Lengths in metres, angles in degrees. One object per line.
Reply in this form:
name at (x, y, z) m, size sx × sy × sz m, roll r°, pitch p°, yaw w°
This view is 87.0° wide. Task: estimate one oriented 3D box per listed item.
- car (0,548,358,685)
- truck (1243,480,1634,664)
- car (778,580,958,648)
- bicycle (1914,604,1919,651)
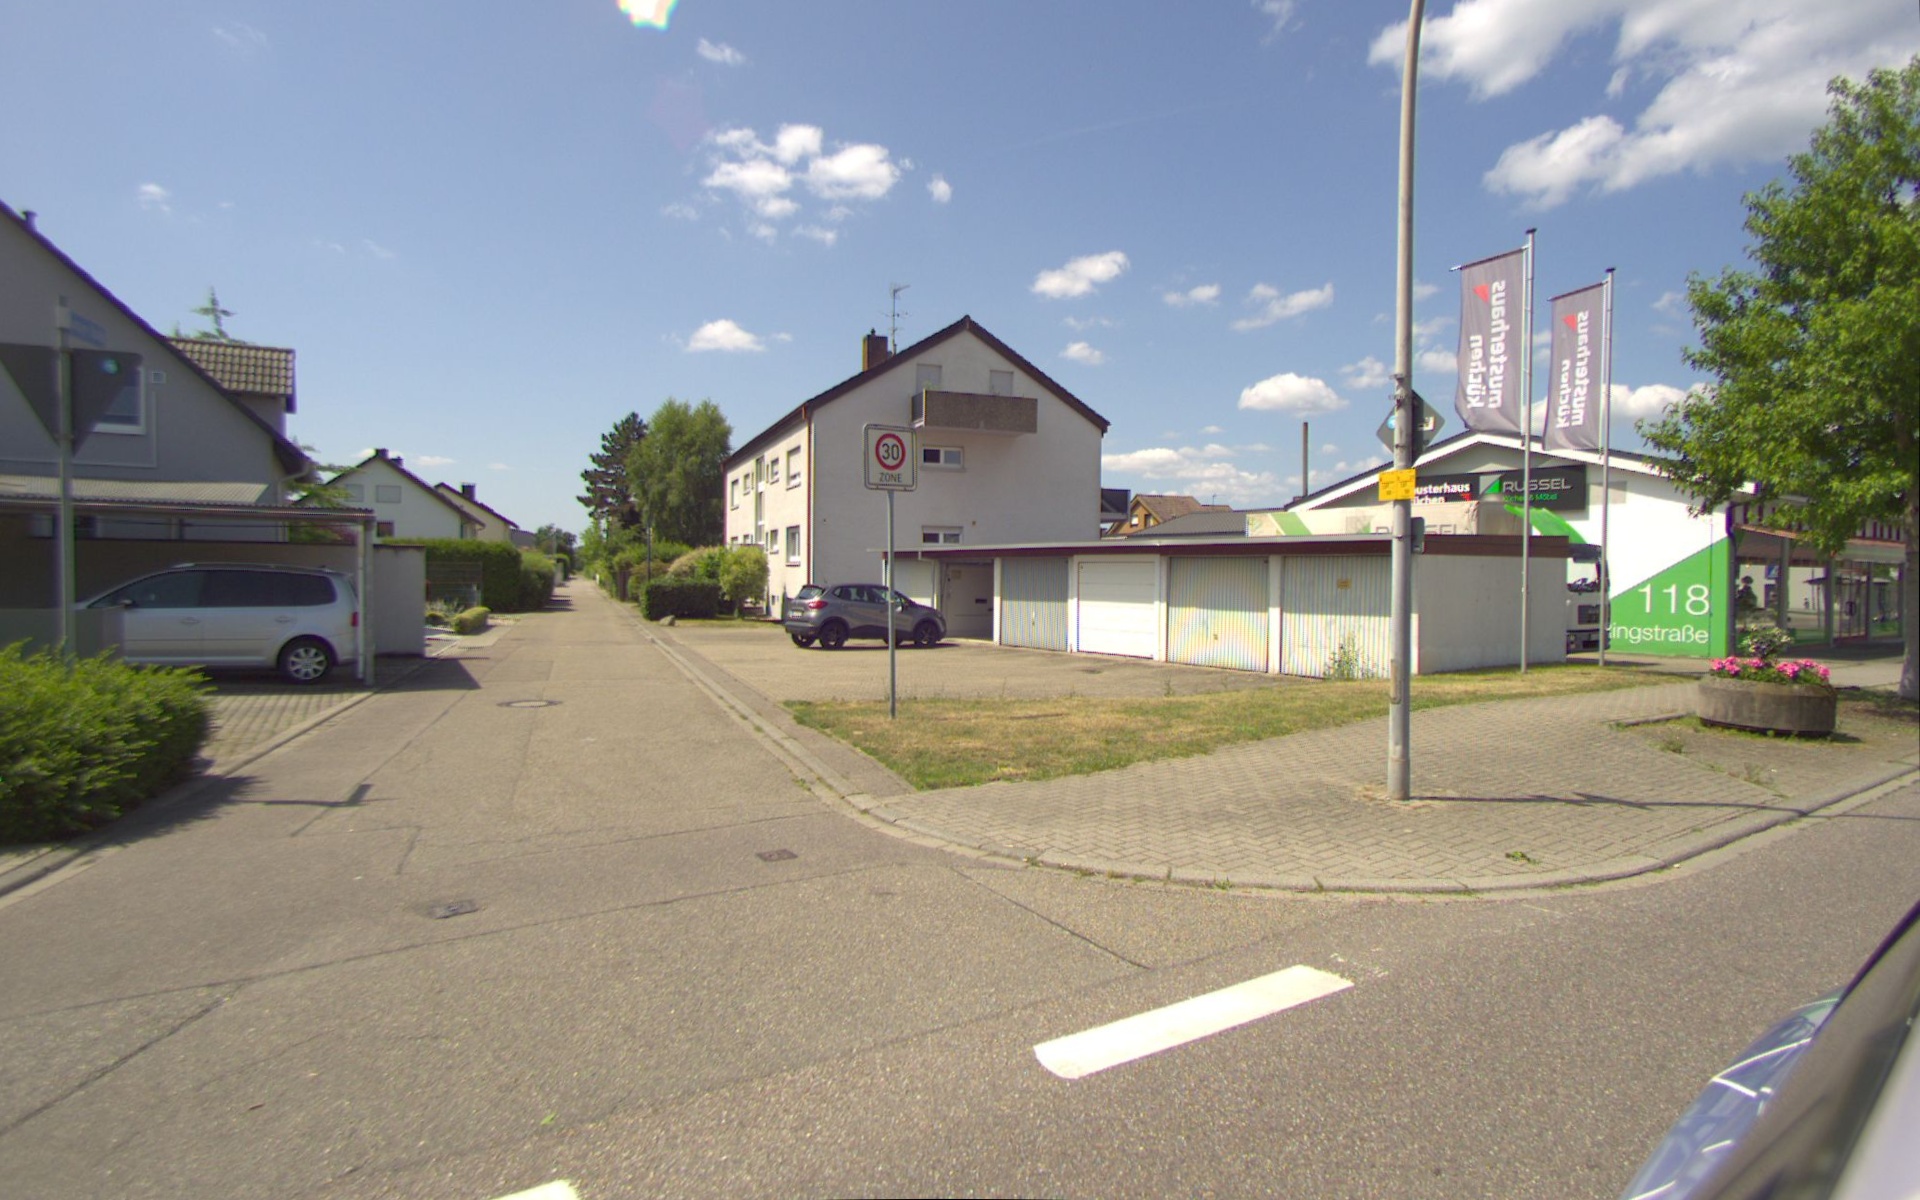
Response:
car at (-10.821, 0.228, 14.054) m, size 4.132 × 1.669 × 1.744 m, roll 2°, pitch 1°, yaw -33°
truck at (10.899, -0.638, 24.077) m, size 2.628 × 3.617 × 8.196 m, roll -1°, pitch 1°, yaw -35°
car at (-2.199, 0.285, 24.596) m, size 4.052 × 1.522 × 1.681 m, roll 0°, pitch 1°, yaw -34°
bicycle at (24.722, 0.691, 25.369) m, size 1.906 × 1.180 × 0.805 m, roll 1°, pitch -2°, yaw -36°
